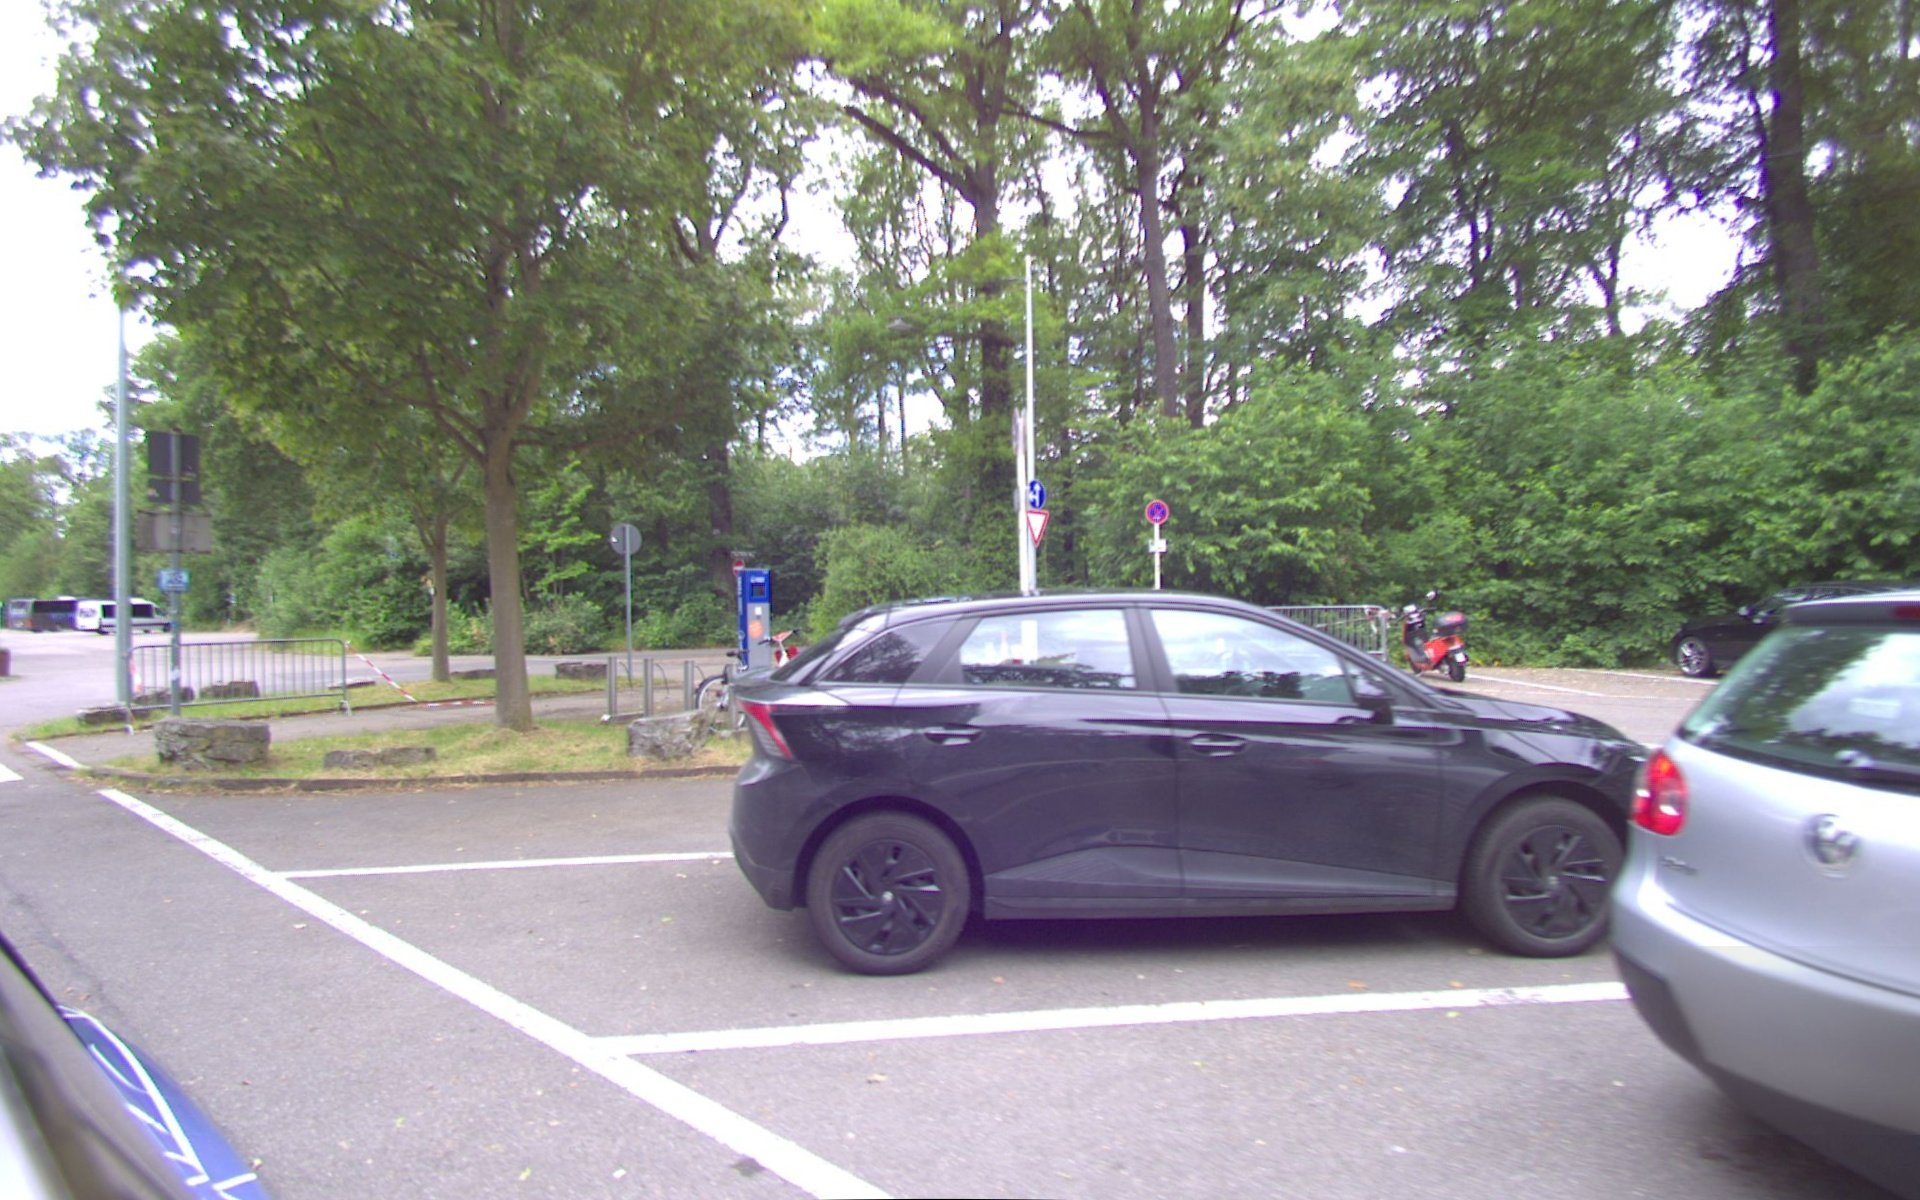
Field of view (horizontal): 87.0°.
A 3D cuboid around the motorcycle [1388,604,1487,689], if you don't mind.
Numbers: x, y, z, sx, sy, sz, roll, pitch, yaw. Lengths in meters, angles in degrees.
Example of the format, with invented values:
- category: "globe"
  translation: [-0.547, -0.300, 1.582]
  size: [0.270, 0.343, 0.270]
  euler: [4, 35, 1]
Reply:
- category: "motorcycle"
  translation: [7.341, 0.680, 15.660]
  size: [0.722, 1.217, 2.026]
  euler: [-1, 0, 6]

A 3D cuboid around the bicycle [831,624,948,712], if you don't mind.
- category: "bicycle"
  translation: [-0.968, 0.920, 14.187]
  size: [1.671, 1.120, 0.483]
  euler: [-1, 0, -42]

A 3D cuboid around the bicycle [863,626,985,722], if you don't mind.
- category: "bicycle"
  translation: [-0.444, 0.928, 13.217]
  size: [1.660, 1.120, 0.506]
  euler: [-1, 0, -44]

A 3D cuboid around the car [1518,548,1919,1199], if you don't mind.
- category: "car"
  translation: [3.717, 0.611, 2.248]
  size: [3.937, 1.495, 1.880]
  euler: [-1, 0, -7]

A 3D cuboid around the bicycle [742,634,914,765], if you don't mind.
- category: "bicycle"
  translation: [-1.269, 0.930, 10.037]
  size: [0.483, 1.120, 1.763]
  euler: [-1, 0, 43]

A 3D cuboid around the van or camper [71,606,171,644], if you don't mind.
- category: "van or camper"
  translation: [-68.321, 1.947, 82.621]
  size: [2.040, 2.871, 7.339]
  euler: [-1, 0, 0]

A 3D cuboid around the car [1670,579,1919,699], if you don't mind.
- category: "car"
  translation: [11.824, 0.436, 13.467]
  size: [1.714, 1.386, 4.004]
  euler: [-1, 0, -4]

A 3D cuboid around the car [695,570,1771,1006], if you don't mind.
- category: "car"
  translation: [1.015, 0.693, 4.714]
  size: [4.041, 1.534, 1.831]
  euler: [-1, 0, -2]

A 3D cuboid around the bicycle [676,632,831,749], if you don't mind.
- category: "bicycle"
  translation: [-2.215, 0.942, 11.030]
  size: [0.483, 1.120, 1.661]
  euler: [-1, 0, 43]

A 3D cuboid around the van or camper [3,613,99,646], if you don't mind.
- category: "van or camper"
  translation: [-87.078, 2.745, 97.162]
  size: [2.176, 2.871, 7.328]
  euler: [-1, 0, 5]
